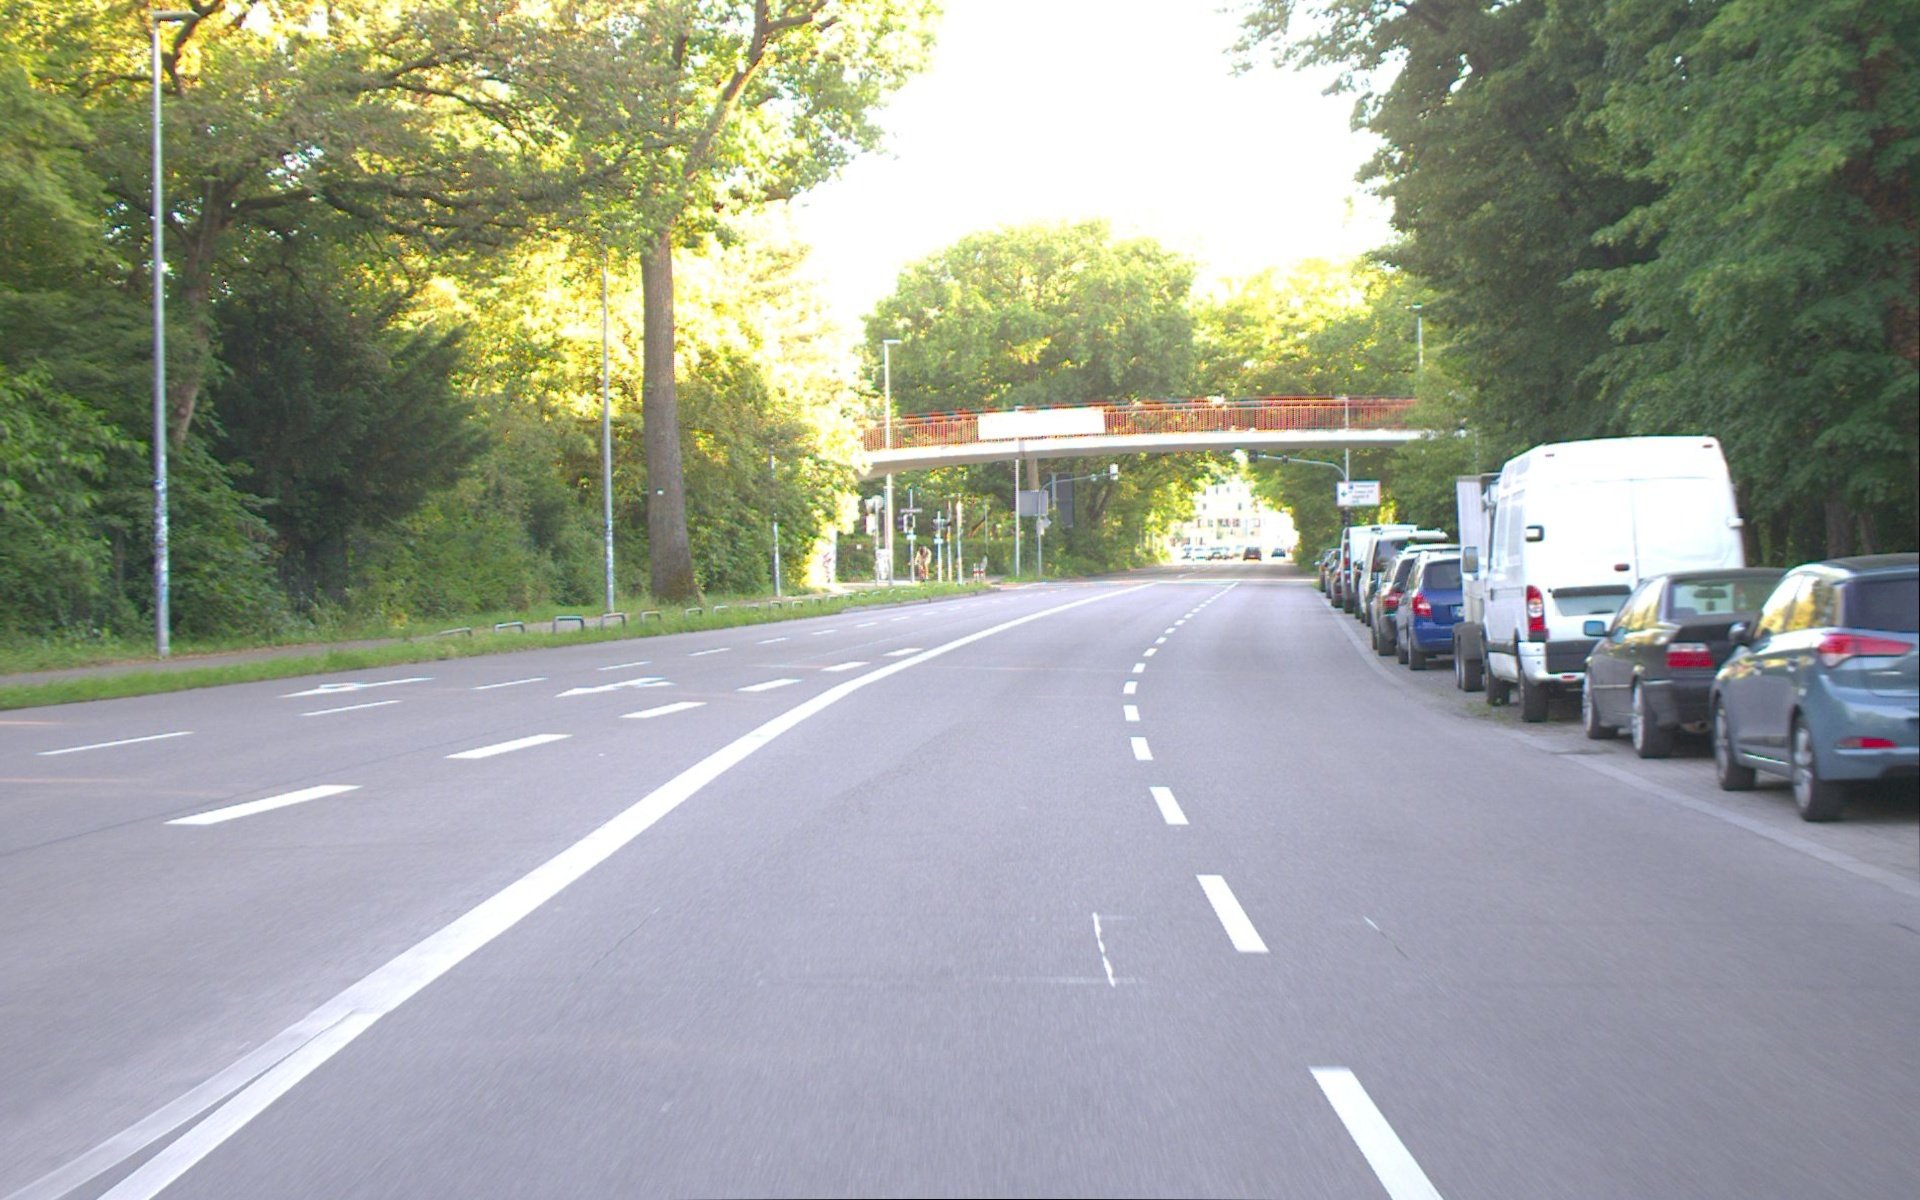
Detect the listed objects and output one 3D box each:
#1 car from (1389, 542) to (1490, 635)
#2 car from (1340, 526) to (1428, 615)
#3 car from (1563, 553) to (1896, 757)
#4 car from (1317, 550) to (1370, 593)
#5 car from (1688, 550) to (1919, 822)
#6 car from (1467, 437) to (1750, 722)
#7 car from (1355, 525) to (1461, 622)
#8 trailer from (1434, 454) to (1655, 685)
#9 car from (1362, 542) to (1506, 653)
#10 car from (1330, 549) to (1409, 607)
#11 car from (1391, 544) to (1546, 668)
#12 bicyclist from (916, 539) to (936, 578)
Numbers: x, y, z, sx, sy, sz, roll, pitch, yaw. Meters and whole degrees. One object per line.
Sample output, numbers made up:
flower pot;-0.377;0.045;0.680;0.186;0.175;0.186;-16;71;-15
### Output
car;8.031;-0.205;57.701;1.586;1.490;3.179;-1;0;7
car;9.848;-0.677;80.122;1.869;1.974;5.473;-1;0;6
car;5.774;0.368;26.307;1.677;1.396;4.650;-1;0;3
car;13.383;-0.991;119.978;1.775;1.449;4.387;-1;0;6
car;5.553;0.439;20.565;1.677;1.459;4.066;-1;0;3
car;5.985;-0.195;32.370;1.904;2.415;5.575;-1;0;4
car;8.764;-0.523;67.518;1.759;1.798;4.737;-1;0;4
trailer;6.559;-0.339;39.062;1.904;2.415;5.126;-1;0;4
car;6.993;-0.056;51.088;1.759;1.530;4.988;-1;0;4
car;10.300;-0.560;86.702;1.869;1.401;4.368;-1;0;6
car;6.654;0.060;45.328;1.678;1.530;4.353;-1;0;4
bicyclist;-1.397;-1.702;141.100;0.712;1.553;1.142;1;0;5
